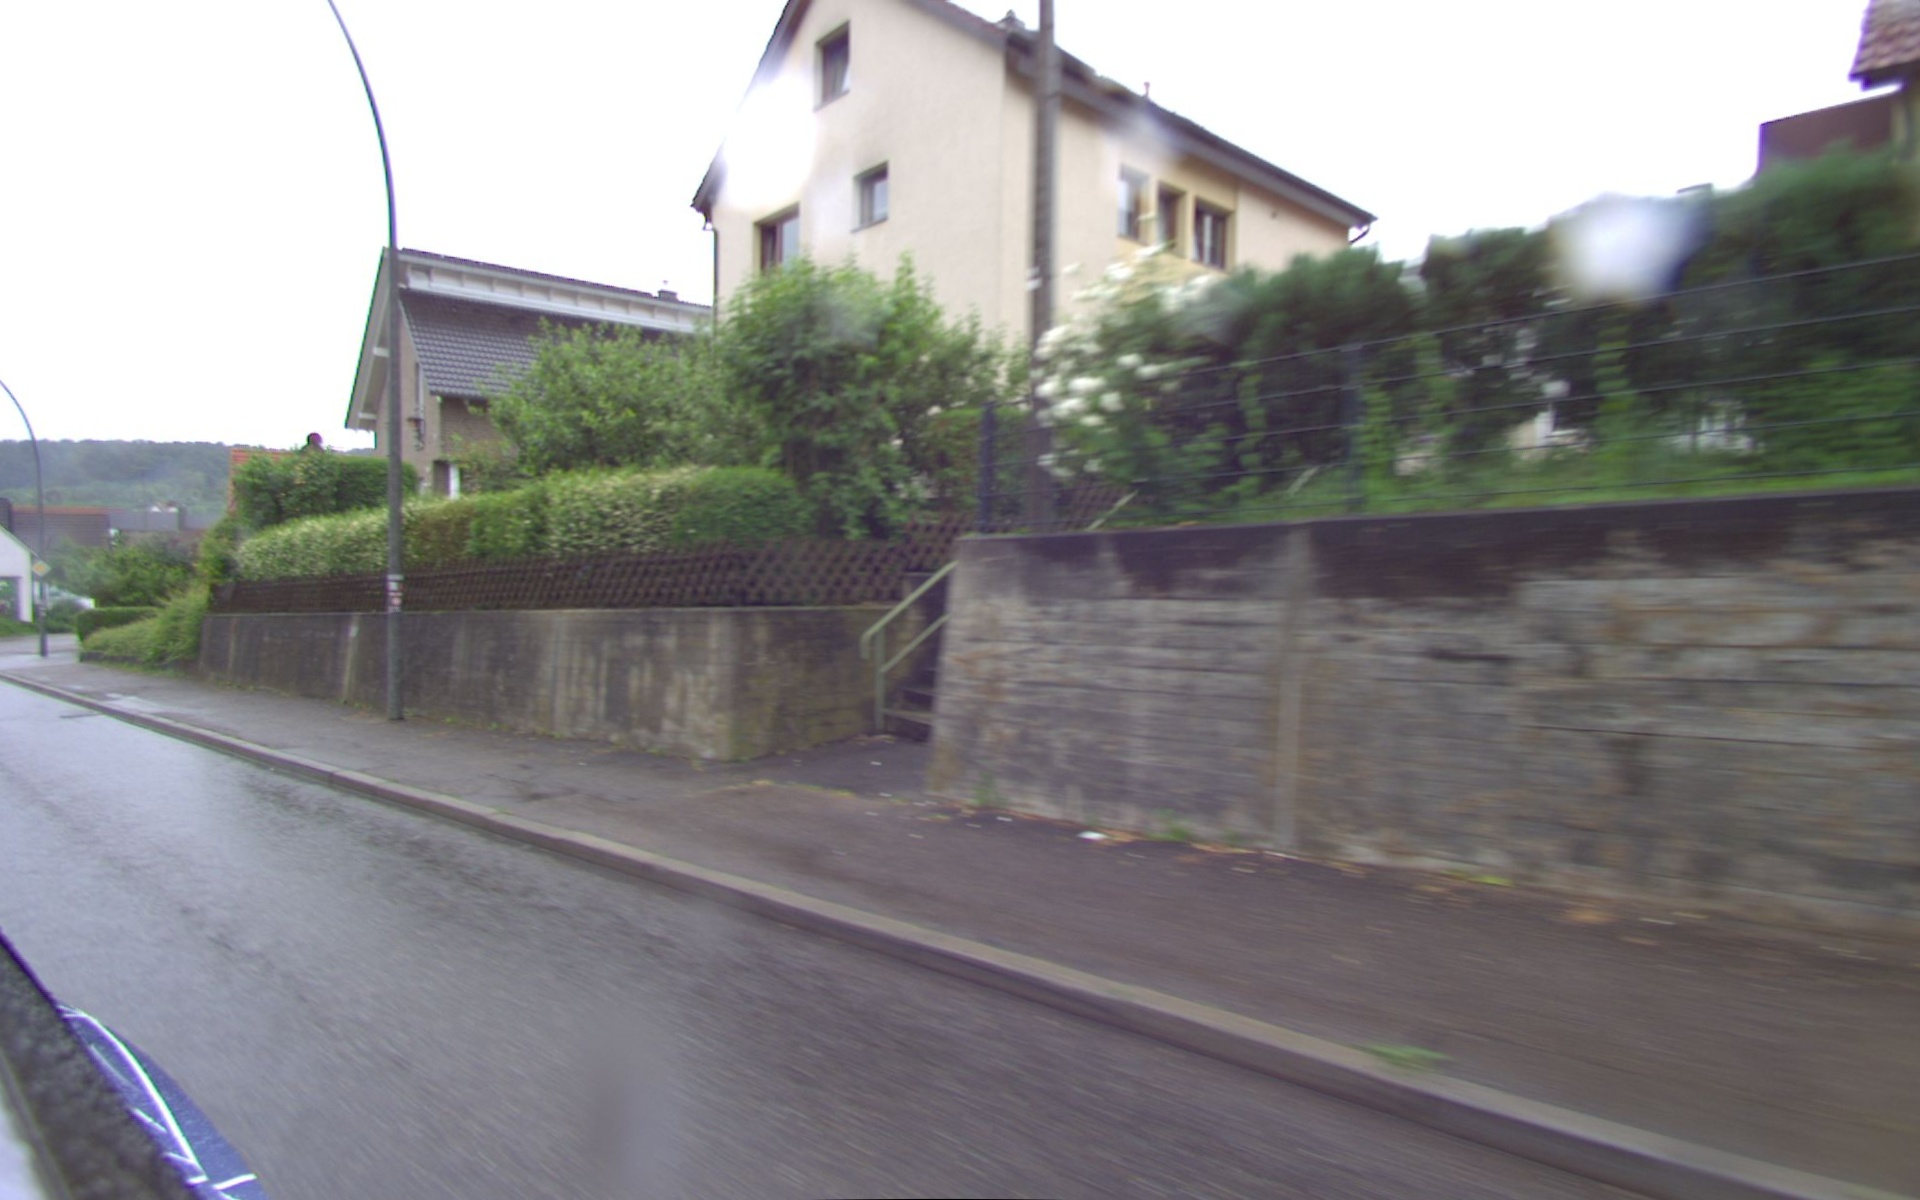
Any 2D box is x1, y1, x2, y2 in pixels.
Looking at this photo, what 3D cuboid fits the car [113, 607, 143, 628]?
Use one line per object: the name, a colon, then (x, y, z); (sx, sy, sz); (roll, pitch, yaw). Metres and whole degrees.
car: (-62.930, 1.298, 76.582); (1.394, 1.439, 3.502); (-1, 1, -34)
